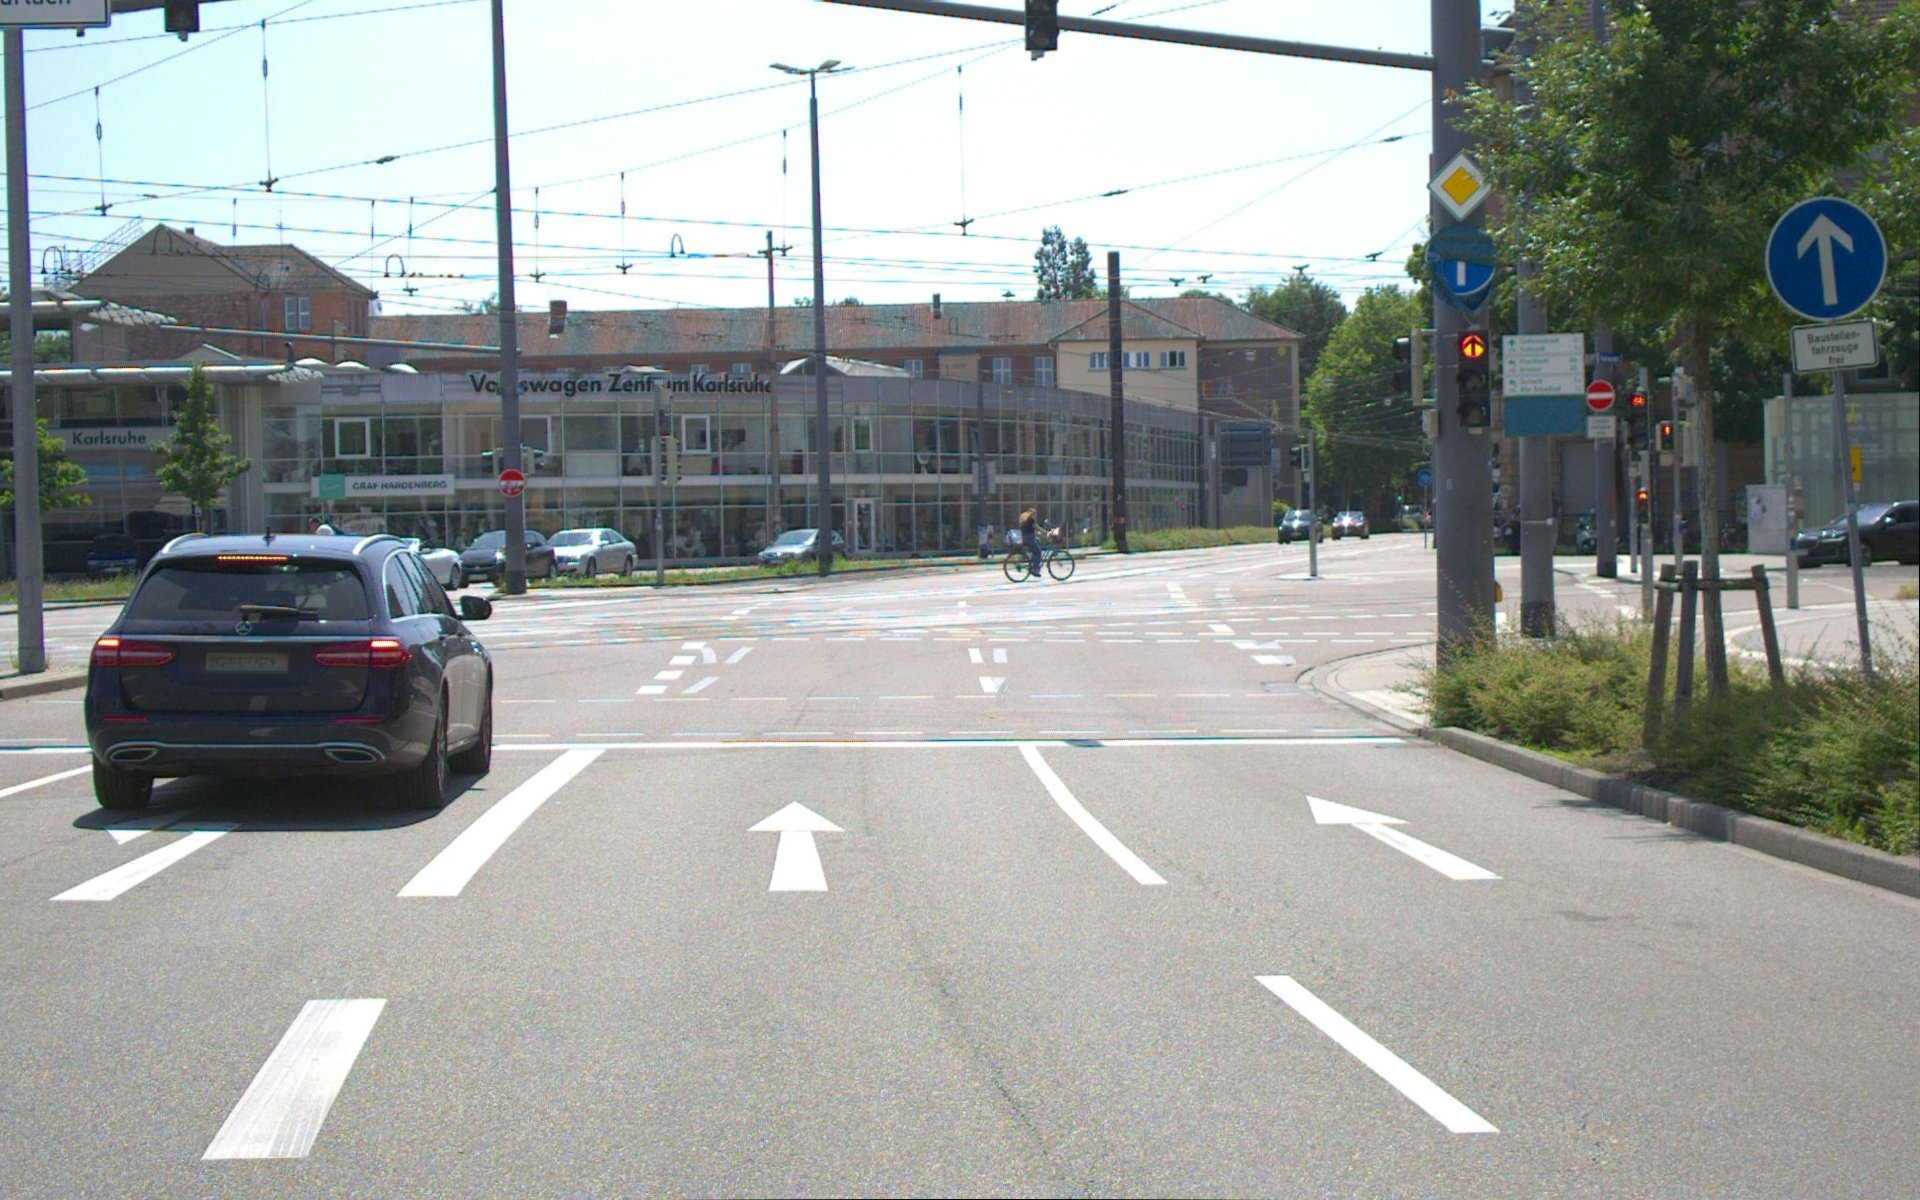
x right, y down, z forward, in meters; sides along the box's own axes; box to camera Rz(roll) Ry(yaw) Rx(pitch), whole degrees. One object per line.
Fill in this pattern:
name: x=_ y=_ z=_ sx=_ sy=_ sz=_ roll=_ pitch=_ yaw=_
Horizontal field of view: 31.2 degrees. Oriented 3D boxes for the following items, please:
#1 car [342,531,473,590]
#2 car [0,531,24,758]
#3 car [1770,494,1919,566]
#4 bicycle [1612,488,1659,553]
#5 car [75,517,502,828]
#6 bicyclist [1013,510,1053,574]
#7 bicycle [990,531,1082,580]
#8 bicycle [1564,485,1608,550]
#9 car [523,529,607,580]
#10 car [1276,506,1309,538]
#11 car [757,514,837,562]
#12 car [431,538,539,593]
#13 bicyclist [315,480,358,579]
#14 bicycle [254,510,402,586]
car: x=-13.440 y=-0.979 z=83.847 sx=1.620 sy=1.385 sz=4.122 roll=-1 pitch=1 yaw=15
car: x=-6.920 y=0.317 z=20.673 sx=1.621 sy=1.458 sz=4.001 roll=-1 pitch=1 yaw=-2
car: x=19.739 y=-1.535 z=74.280 sx=4.100 sy=1.446 sz=1.698 roll=-1 pitch=3 yaw=-21
bicycle: x=19.604 y=-2.331 z=99.800 sx=0.612 sy=1.782 sz=3.182 roll=0 pitch=3 yaw=-2
car: x=-3.704 y=0.325 z=19.698 sx=1.716 sy=1.551 sz=4.587 roll=-1 pitch=1 yaw=-3
bicyclist: x=1.718 y=-1.368 z=80.976 sx=0.731 sy=1.474 sz=0.656 roll=-1 pitch=3 yaw=-20
bicycle: x=1.797 y=-1.047 z=81.012 sx=2.160 sy=1.103 sz=0.457 roll=-1 pitch=3 yaw=-20
bicycle: x=18.168 y=-2.407 z=99.837 sx=0.612 sy=1.782 sz=3.182 roll=0 pitch=3 yaw=-2
car: x=-10.947 y=-1.286 z=95.435 sx=1.432 sy=1.281 sz=3.260 roll=0 pitch=3 yaw=10
car: x=16.106 y=-3.786 z=166.538 sx=1.531 sy=1.454 sz=3.552 roll=0 pitch=3 yaw=6
car: x=-5.345 y=-2.052 z=113.014 sx=1.572 sy=1.422 sz=3.611 roll=1 pitch=3 yaw=15
car: x=-12.338 y=-0.916 z=89.507 sx=1.539 sy=1.273 sz=3.537 roll=1 pitch=3 yaw=15
bicyclist: x=-12.375 y=-1.407 z=68.252 sx=0.763 sy=1.931 sz=0.660 roll=0 pitch=3 yaw=-4
bicycle: x=-12.542 y=-1.036 z=68.239 sx=2.825 sy=1.458 sz=0.634 roll=0 pitch=3 yaw=-4
